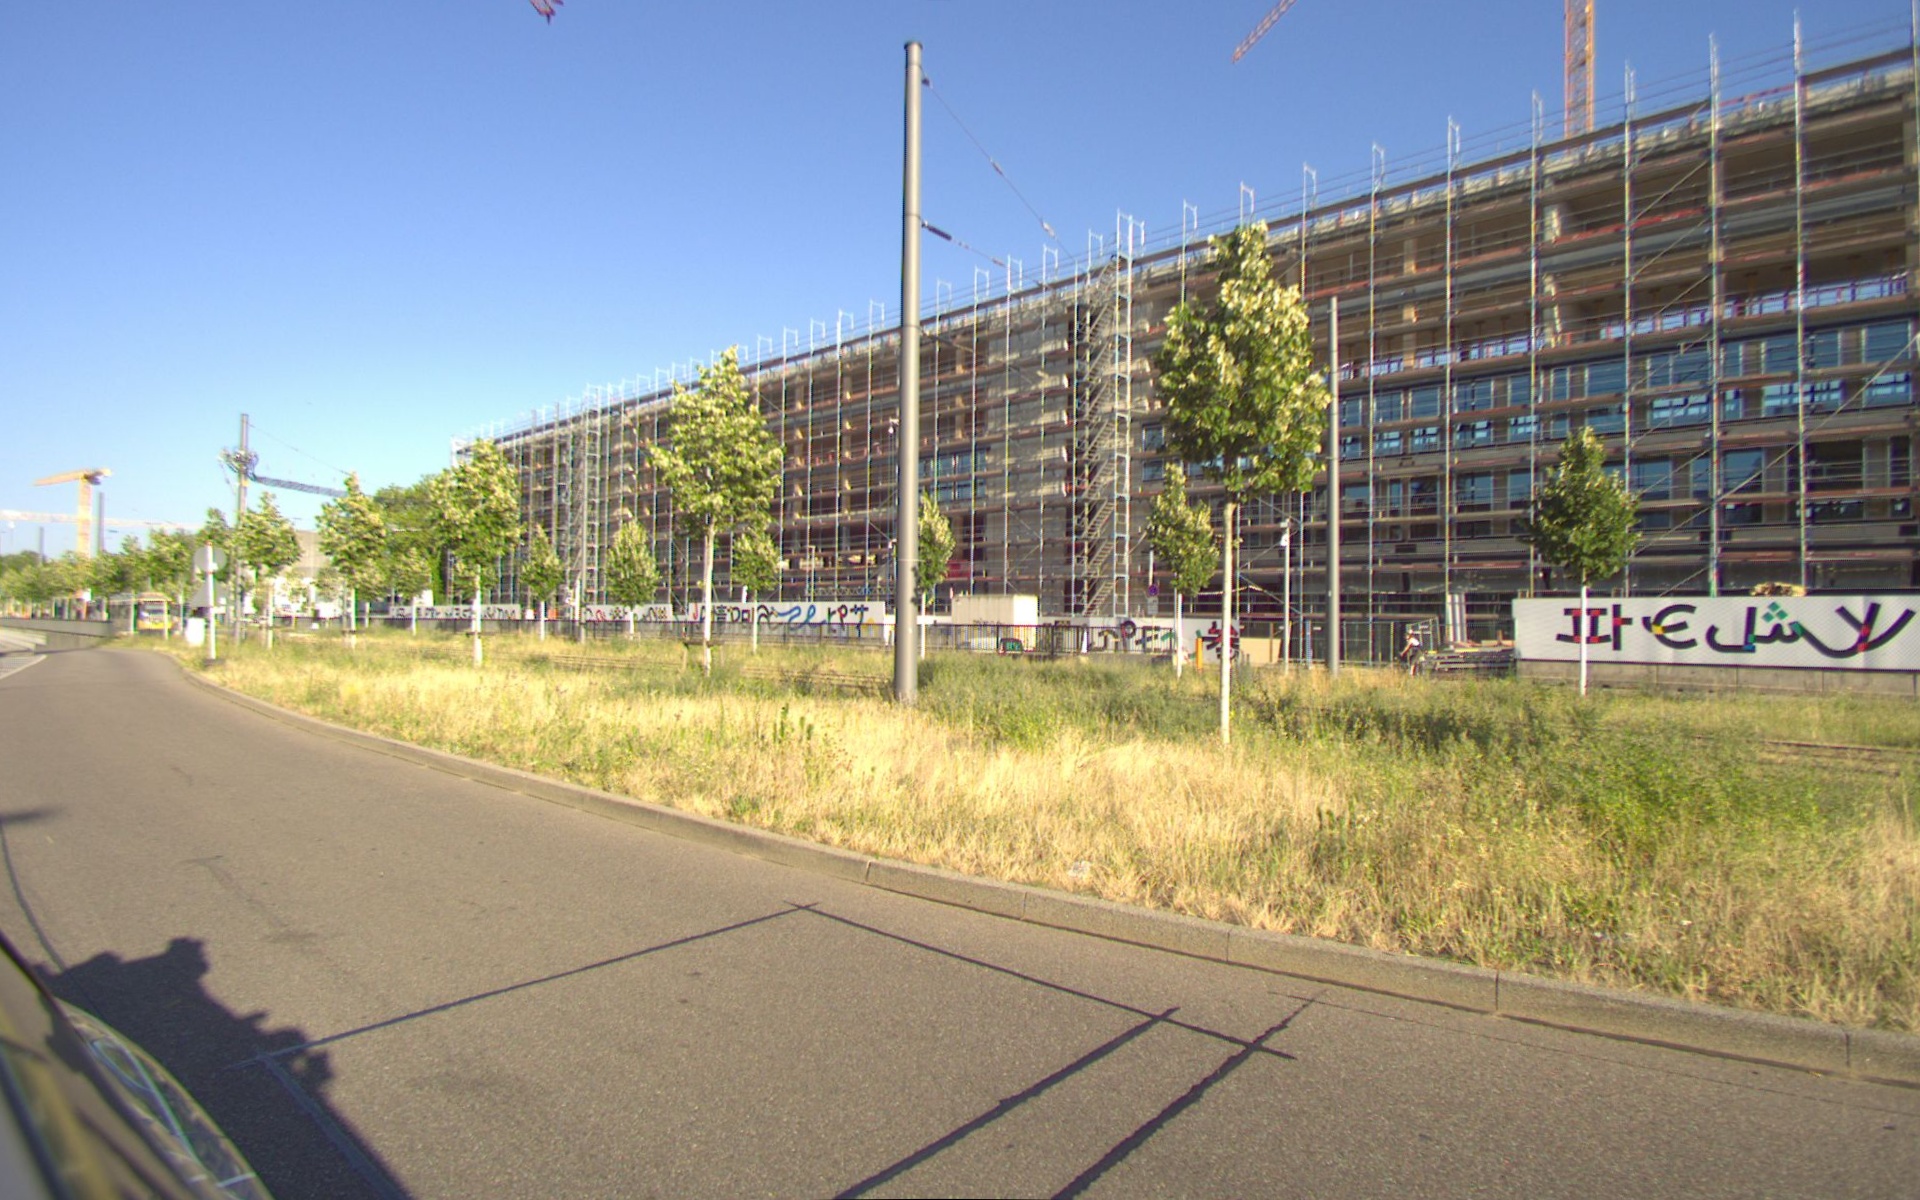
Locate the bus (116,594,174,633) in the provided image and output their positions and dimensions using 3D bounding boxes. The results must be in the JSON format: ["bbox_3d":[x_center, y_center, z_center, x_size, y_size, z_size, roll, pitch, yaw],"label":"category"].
[{"bbox_3d":[-70.803,1.198,87.857,8.657,3.247,2.687,-1,-2,43],"label":"bus"}]

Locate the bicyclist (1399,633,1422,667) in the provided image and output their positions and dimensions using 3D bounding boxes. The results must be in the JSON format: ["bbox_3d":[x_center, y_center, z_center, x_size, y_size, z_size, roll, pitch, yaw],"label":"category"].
[{"bbox_3d":[15.847,1.757,35.584,0.638,1.162,0.473,-1,-2,43],"label":"bicyclist"}]

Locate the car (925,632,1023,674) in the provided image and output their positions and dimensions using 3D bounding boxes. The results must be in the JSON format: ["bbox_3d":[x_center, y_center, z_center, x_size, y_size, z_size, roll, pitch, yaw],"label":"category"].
[{"bbox_3d":[0.515,2.059,40.195,3.842,1.570,1.587,-1,-2,43],"label":"car"}]

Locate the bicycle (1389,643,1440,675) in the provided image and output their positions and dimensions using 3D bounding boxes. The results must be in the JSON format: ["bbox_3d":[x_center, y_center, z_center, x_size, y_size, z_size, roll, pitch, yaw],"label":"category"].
[{"bbox_3d":[15.941,2.054,35.500,1.564,1.069,0.473,-1,-2,43],"label":"bicycle"}]

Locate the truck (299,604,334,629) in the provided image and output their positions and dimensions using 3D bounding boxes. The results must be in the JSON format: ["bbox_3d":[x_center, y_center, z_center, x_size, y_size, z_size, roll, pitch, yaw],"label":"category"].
[{"bbox_3d":[-68.181,1.746,107.202,4.741,2.593,2.114,-1,-2,44],"label":"truck"}]
